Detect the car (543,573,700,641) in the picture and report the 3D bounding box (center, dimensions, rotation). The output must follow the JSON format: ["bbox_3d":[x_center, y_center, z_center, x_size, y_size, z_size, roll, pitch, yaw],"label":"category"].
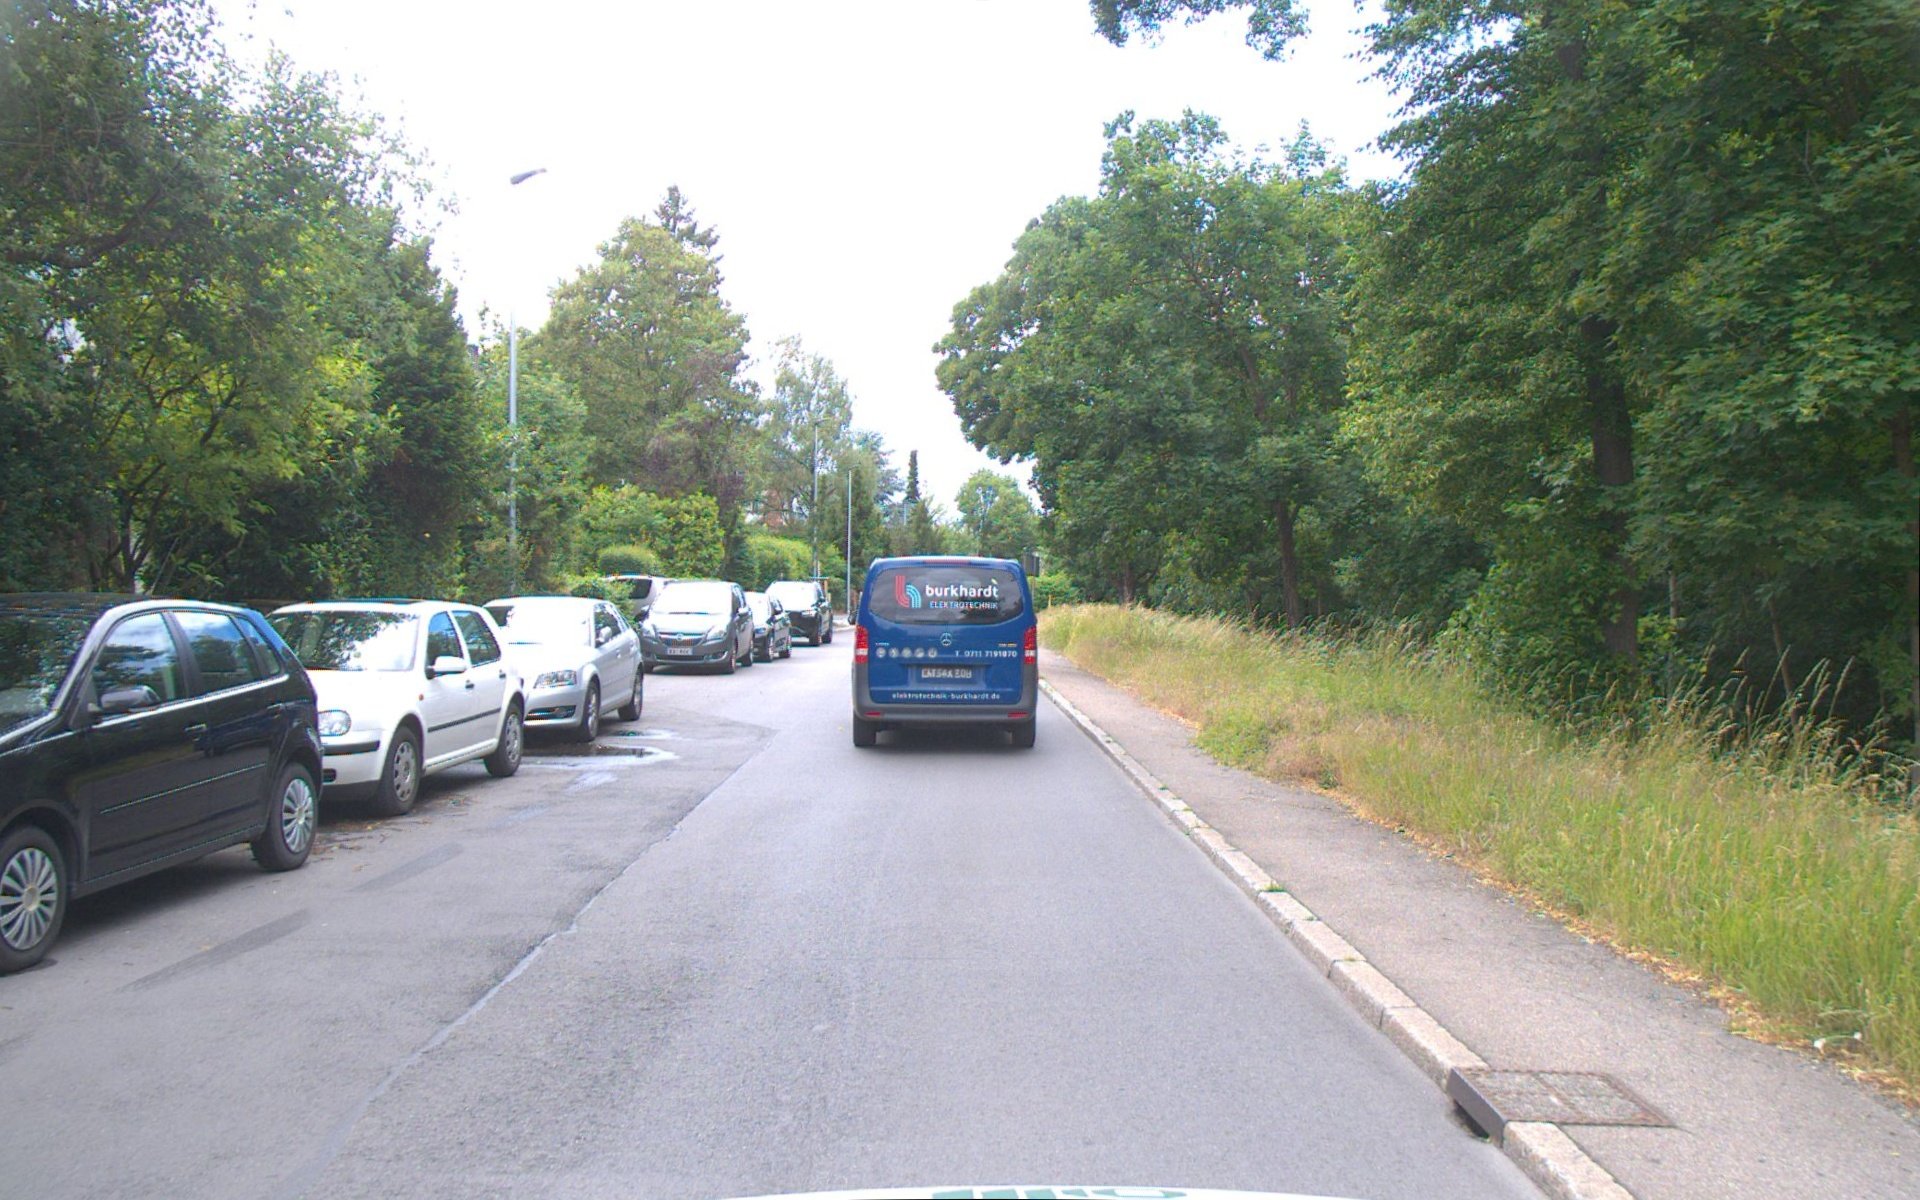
[{"bbox_3d":[-8.928,0.176,43.750,3.613,1.666,1.830,2,0,13],"label":"car"}]

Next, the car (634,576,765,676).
[{"bbox_3d":[-4.714,0.435,30.476,1.696,1.661,4.568,2,0,-1],"label":"car"}]

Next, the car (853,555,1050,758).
[{"bbox_3d":[-0.204,0.475,17.572,1.851,1.876,3.998,0,2,-4],"label":"car"}]

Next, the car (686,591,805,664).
[{"bbox_3d":[-4.571,0.547,35.927,1.718,1.437,4.900,2,0,2],"label":"car"}]

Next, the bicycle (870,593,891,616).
[{"bbox_3d":[-4.557,0.268,95.042,0.887,1.273,2.917,3,0,3],"label":"bicycle"}]

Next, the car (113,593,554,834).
[{"bbox_3d":[-4.431,0.697,12.472,1.625,1.478,4.382,0,0,0],"label":"car"}]

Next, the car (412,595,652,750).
[{"bbox_3d":[-4.481,0.683,17.887,1.590,1.475,4.092,0,0,-1],"label":"car"}]

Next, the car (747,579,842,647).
[{"bbox_3d":[-4.593,0.340,46.652,1.933,1.767,5.191,2,0,2],"label":"car"}]

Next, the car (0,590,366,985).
[{"bbox_3d":[-4.337,0.696,7.753,1.589,1.475,3.970,0,0,1],"label":"car"}]
